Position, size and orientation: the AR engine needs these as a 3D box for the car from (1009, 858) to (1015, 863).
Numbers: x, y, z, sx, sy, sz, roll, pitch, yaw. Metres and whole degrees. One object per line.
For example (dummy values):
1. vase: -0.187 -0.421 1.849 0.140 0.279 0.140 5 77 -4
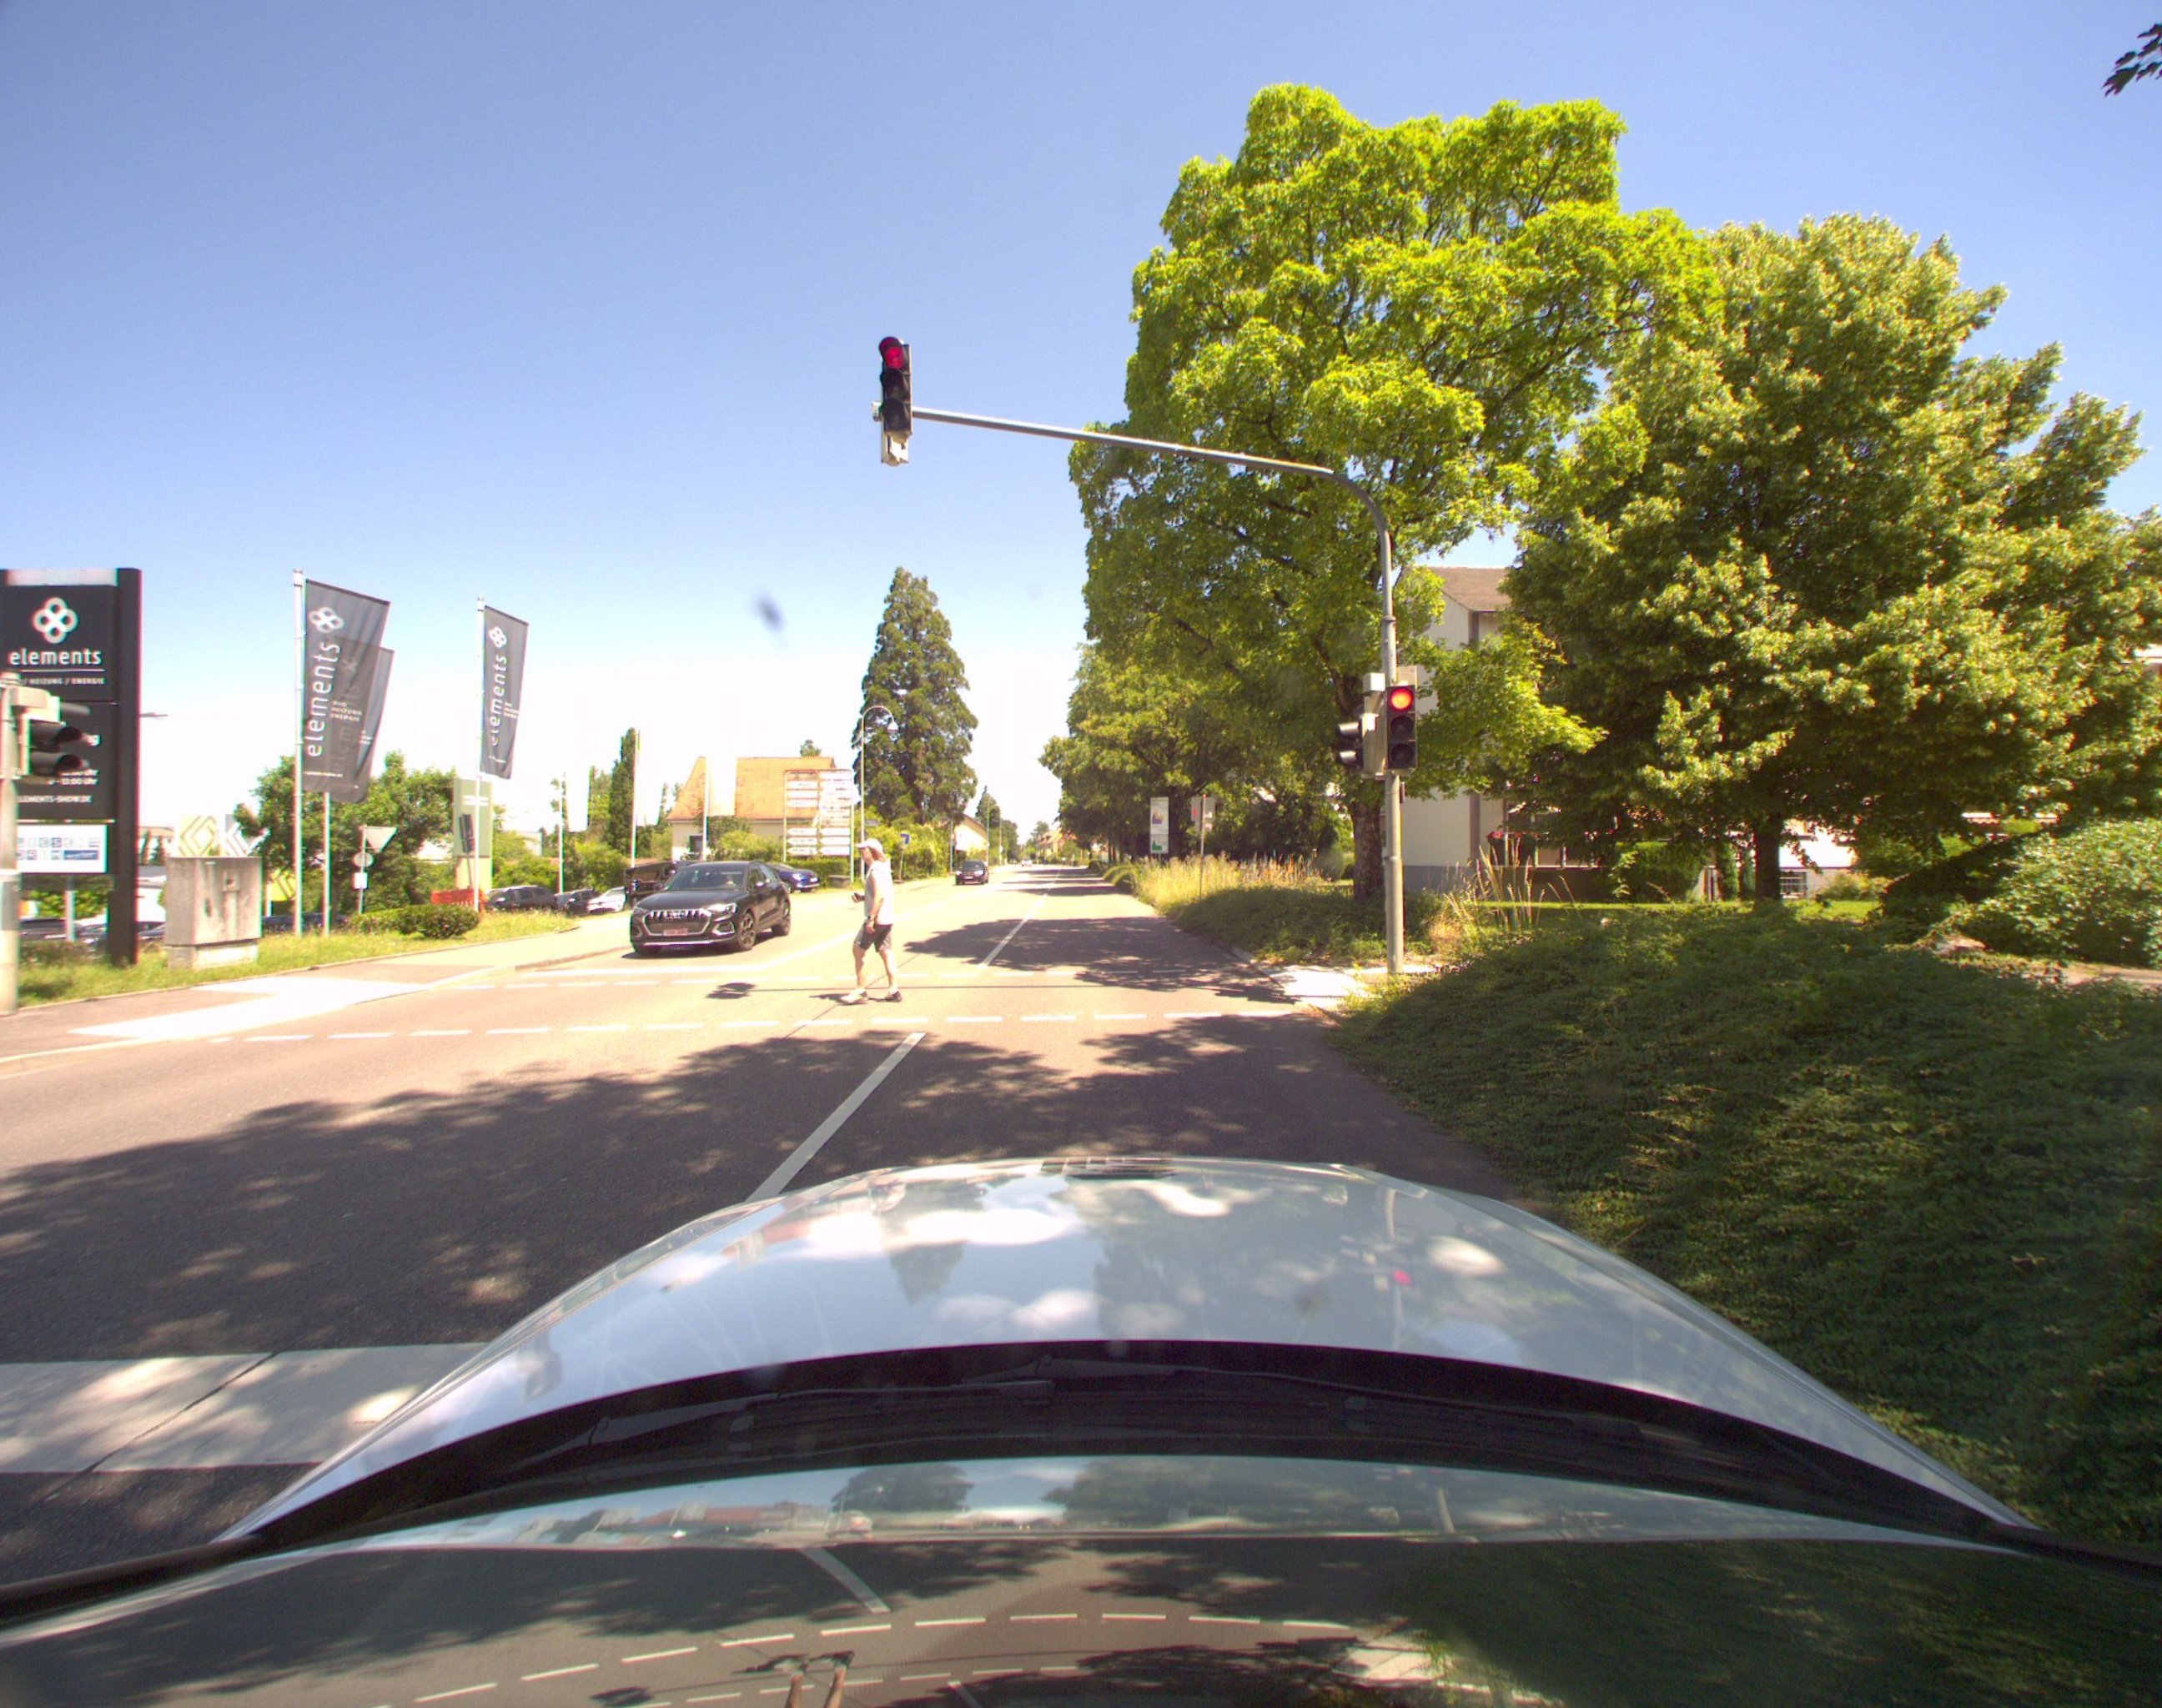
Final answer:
1. car: -19.829 1.944 234.079 1.456 1.435 3.181 0 -1 -2

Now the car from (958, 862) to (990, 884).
1. car: -6.561 1.166 50.290 1.426 1.322 3.356 0 -1 2

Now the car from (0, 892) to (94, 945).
1. car: -37.974 2.238 28.677 4.277 1.718 1.887 -1 0 3

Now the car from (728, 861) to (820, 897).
1. car: -13.631 1.080 36.324 3.486 1.427 1.597 -2 0 -6

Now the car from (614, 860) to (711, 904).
1. car: -17.004 1.132 33.227 3.144 1.714 1.569 0 -1 -9

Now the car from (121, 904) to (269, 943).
1. car: -35.444 2.784 32.664 3.973 1.413 1.756 0 -1 0

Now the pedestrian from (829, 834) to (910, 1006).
1. pedestrian: -2.258 0.673 8.701 0.607 1.751 0.565 -1 -1 30

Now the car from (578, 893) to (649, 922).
1. car: -23.253 2.646 40.639 1.743 1.226 3.240 0 0 -3

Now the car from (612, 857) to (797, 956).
1. car: -6.868 0.895 15.407 1.921 1.526 4.295 -2 -1 -8

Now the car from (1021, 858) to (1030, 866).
1. car: -10.454 1.442 152.903 1.551 1.448 3.786 0 -1 -2
